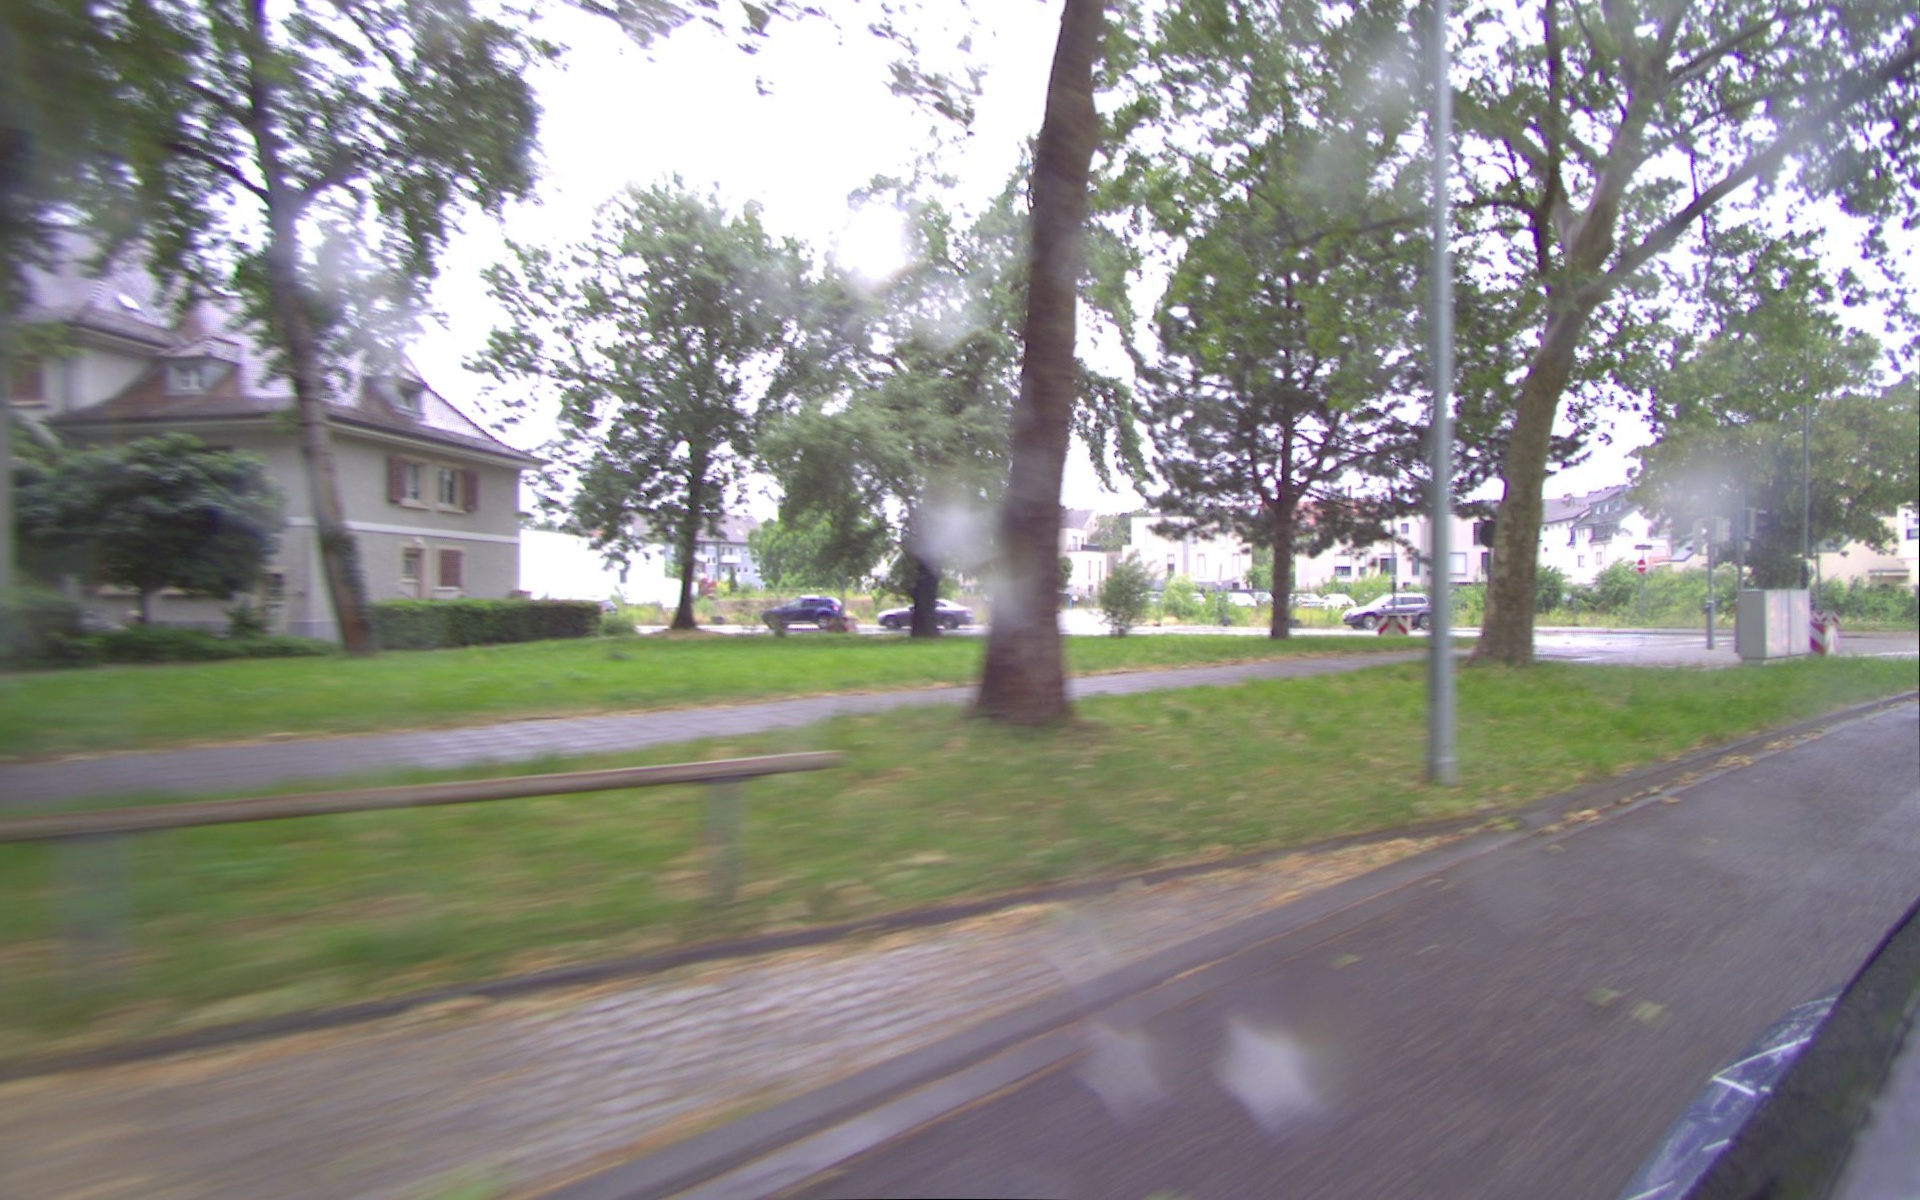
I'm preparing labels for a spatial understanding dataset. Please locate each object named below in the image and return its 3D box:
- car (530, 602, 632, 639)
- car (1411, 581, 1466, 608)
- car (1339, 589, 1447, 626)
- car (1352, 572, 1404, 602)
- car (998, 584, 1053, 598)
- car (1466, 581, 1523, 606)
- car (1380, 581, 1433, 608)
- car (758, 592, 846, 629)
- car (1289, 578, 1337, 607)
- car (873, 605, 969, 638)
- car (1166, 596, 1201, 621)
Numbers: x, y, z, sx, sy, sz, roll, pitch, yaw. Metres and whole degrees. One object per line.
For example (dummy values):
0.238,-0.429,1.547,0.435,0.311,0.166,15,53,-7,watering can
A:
-18.476,0.980,49.416,4.233,1.766,1.995,-1,-1,9,car
34.265,-0.372,72.594,1.961,1.883,4.001,0,0,-2,car
20.243,0.348,47.429,4.230,1.675,1.856,0,-1,6,car
29.791,-0.880,72.310,1.961,2.039,4.000,0,0,-1,car
5.521,-0.739,85.509,4.341,1.150,1.759,-1,-1,18,car
38.538,-0.445,73.103,1.872,1.705,4.000,0,0,-1,car
32.004,-0.390,72.671,1.961,1.883,4.001,0,0,-2,car
-7.948,0.541,51.170,4.020,1.833,1.877,-1,-1,9,car
25.650,-0.544,73.646,1.961,2.039,4.000,0,0,-1,car
-1.904,1.067,49.983,4.454,1.568,1.975,-1,-1,9,car
18.666,0.688,84.728,1.961,2.039,4.000,0,0,-1,car
